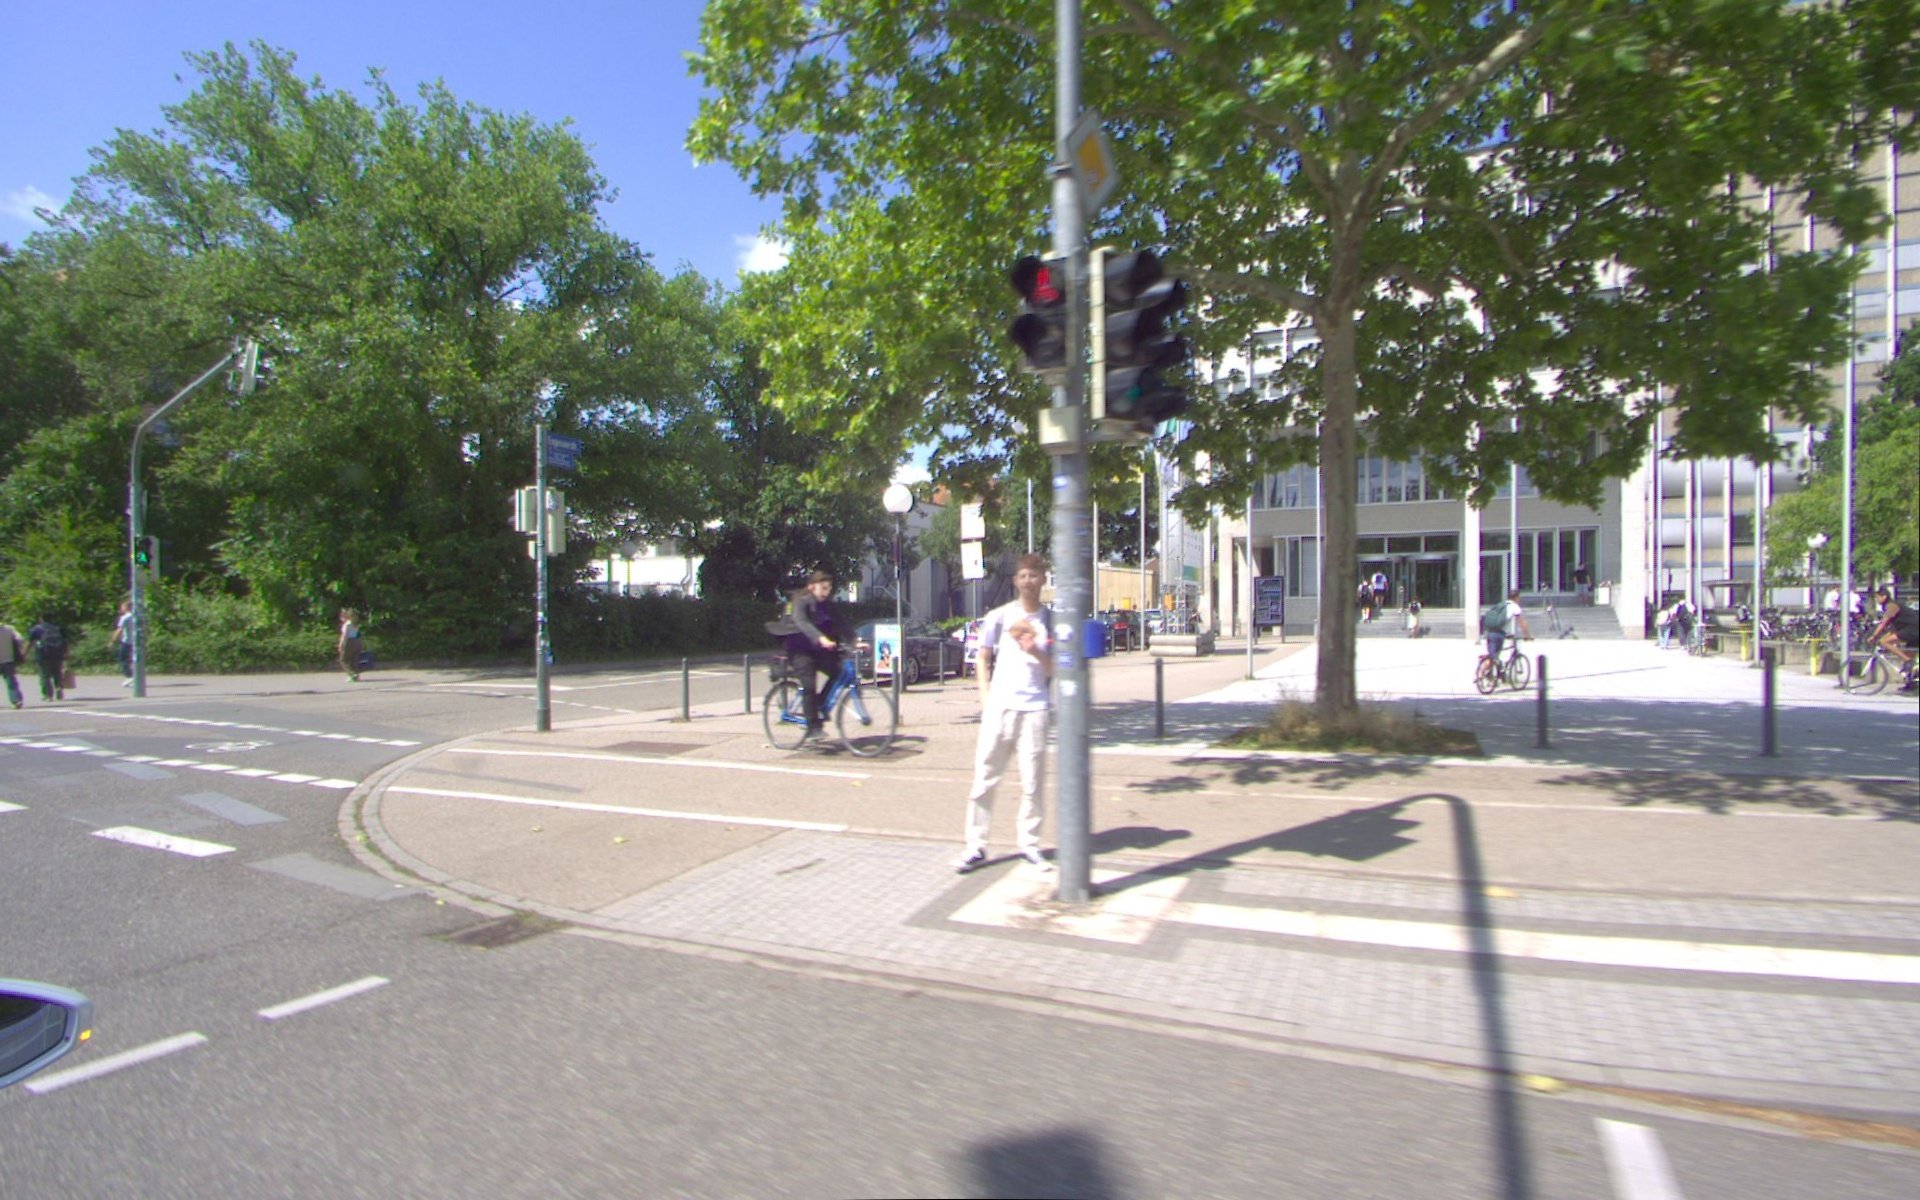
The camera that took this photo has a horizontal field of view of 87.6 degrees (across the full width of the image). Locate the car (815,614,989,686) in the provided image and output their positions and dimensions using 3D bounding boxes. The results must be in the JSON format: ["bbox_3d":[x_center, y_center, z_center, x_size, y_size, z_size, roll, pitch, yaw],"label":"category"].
[{"bbox_3d":[-1.146,1.054,22.423,1.696,1.418,4.932,-3,-2,25],"label":"car"}]

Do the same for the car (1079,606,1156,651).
[{"bbox_3d":[5.824,1.015,36.620,1.697,1.549,3.987,-1,-1,26],"label":"car"}]

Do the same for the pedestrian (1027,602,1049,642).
[{"bbox_3d":[3.817,1.097,49.187,0.727,1.951,0.777,0,0,-42],"label":"pedestrian"}]

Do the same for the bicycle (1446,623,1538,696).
[{"bbox_3d":[10.005,1.110,18.815,1.848,1.313,0.659,2,-2,-31],"label":"bicycle"}]

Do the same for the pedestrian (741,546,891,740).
[{"bbox_3d":[-1.449,0.400,10.154,1.157,1.845,0.852,0,4,28],"label":"pedestrian"}]

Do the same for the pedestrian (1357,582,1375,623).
[{"bbox_3d":[17.265,0.116,42.596,0.624,1.687,0.714,-1,-2,28],"label":"pedestrian"}]

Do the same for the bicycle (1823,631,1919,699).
[{"bbox_3d":[15.697,1.061,16.467,0.894,1.092,2.137,1,-3,-40],"label":"bicycle"}]

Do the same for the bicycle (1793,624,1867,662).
[{"bbox_3d":[26.276,1.301,30.272,0.592,1.112,1.768,1,-2,-5],"label":"bicycle"}]

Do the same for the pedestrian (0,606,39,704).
[{"bbox_3d":[-17.230,0.964,17.984,1.167,1.726,0.792,0,0,37],"label":"pedestrian"}]

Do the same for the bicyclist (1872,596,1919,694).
[{"bbox_3d":[15.710,0.736,16.513,0.656,1.584,0.925,0,0,-42],"label":"bicyclist"}]

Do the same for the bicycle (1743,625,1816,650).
[{"bbox_3d":[26.089,1.195,31.880,1.735,0.803,0.520,-1,0,13],"label":"bicycle"}]

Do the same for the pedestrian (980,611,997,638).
[{"bbox_3d":[1.687,1.465,59.588,0.840,1.540,0.518,-1,-2,29],"label":"pedestrian"}]

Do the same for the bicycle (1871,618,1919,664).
[{"bbox_3d":[23.778,1.024,24.850,0.592,1.112,1.768,1,-2,-5],"label":"bicycle"}]

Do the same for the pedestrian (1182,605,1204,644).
[{"bbox_3d":[10.190,1.063,43.825,0.679,1.661,0.738,0,0,-13],"label":"pedestrian"}]

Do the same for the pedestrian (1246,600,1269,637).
[{"bbox_3d":[14.026,0.872,47.146,0.906,1.763,0.998,0,0,26],"label":"pedestrian"}]

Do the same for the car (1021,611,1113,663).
[{"bbox_3d":[3.498,1.142,32.085,1.594,1.516,4.132,-3,-2,26],"label":"car"}]

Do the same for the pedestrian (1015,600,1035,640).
[{"bbox_3d":[3.164,0.966,48.786,0.587,1.951,0.779,0,0,-42],"label":"pedestrian"}]

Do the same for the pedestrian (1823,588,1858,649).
[{"bbox_3d":[32.549,0.697,37.029,0.622,2.257,0.717,0,-2,-5],"label":"pedestrian"}]

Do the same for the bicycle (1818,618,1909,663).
[{"bbox_3d":[22.809,1.031,25.316,0.592,1.112,1.768,1,-2,-5],"label":"bicycle"}]

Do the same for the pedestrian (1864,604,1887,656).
[{"bbox_3d":[40.420,1.347,44.227,0.709,2.257,0.628,-1,-2,44],"label":"pedestrian"}]

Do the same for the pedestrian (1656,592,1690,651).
[{"bbox_3d":[22.023,0.673,30.929,0.707,1.768,0.630,2,-2,-35],"label":"pedestrian"}]

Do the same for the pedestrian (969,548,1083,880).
[{"bbox_3d":[0.394,0.631,5.810,0.599,1.825,0.595,-1,2,6],"label":"pedestrian"}]

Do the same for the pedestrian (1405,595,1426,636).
[{"bbox_3d":[18.339,0.632,40.318,0.709,1.605,0.714,-1,-2,28],"label":"pedestrian"}]

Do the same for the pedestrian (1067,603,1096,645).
[{"bbox_3d":[5.772,1.122,47.394,1.081,1.945,1.017,0,0,27],"label":"pedestrian"}]

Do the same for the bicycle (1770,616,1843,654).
[{"bbox_3d":[25.567,1.059,30.279,0.592,1.112,1.768,1,-2,-5],"label":"bicycle"}]

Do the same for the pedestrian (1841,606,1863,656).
[{"bbox_3d":[40.922,1.433,45.954,0.709,2.257,0.628,-1,-2,44],"label":"pedestrian"}]

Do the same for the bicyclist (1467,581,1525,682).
[{"bbox_3d":[10.102,0.602,18.877,0.751,1.868,0.659,1,-2,-30],"label":"bicyclist"}]

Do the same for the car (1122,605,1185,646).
[{"bbox_3d":[8.096,1.045,41.648,1.696,1.549,4.555,-2,-2,22],"label":"car"}]

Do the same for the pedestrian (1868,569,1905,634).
[{"bbox_3d":[32.981,0.058,35.660,0.622,2.257,0.854,0,-2,15],"label":"pedestrian"}]

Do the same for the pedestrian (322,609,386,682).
[{"bbox_3d":[-14.407,1.066,23.819,1.000,1.648,0.857,1,1,6],"label":"pedestrian"}]

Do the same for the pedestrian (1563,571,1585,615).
[{"bbox_3d":[26.079,-0.297,42.533,0.709,1.820,0.714,-1,-2,28],"label":"pedestrian"}]

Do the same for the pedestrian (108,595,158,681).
[{"bbox_3d":[-18.036,0.824,21.840,0.694,1.844,0.668,1,0,37],"label":"pedestrian"}]

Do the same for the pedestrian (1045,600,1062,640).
[{"bbox_3d":[4.580,0.981,49.037,0.713,1.951,0.750,0,0,17],"label":"pedestrian"}]

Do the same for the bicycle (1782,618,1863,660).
[{"bbox_3d":[23.775,1.084,27.653,0.592,1.112,1.768,1,-2,-5],"label":"bicycle"}]

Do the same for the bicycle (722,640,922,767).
[{"bbox_3d":[-1.400,1.000,10.127,1.861,1.087,0.814,0,3,27],"label":"bicycle"}]

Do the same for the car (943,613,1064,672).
[{"bbox_3d":[1.288,1.118,27.409,1.697,1.417,4.424,-3,-2,25],"label":"car"}]

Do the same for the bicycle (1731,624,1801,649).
[{"bbox_3d":[26.492,1.210,32.938,1.735,0.803,0.520,-1,0,13],"label":"bicycle"}]

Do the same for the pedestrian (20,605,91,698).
[{"bbox_3d":[-17.343,0.968,19.200,1.167,1.726,0.792,0,0,37],"label":"pedestrian"}]

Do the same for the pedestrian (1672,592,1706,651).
[{"bbox_3d":[22.309,0.661,30.641,0.707,1.768,0.630,2,-2,-35],"label":"pedestrian"}]
